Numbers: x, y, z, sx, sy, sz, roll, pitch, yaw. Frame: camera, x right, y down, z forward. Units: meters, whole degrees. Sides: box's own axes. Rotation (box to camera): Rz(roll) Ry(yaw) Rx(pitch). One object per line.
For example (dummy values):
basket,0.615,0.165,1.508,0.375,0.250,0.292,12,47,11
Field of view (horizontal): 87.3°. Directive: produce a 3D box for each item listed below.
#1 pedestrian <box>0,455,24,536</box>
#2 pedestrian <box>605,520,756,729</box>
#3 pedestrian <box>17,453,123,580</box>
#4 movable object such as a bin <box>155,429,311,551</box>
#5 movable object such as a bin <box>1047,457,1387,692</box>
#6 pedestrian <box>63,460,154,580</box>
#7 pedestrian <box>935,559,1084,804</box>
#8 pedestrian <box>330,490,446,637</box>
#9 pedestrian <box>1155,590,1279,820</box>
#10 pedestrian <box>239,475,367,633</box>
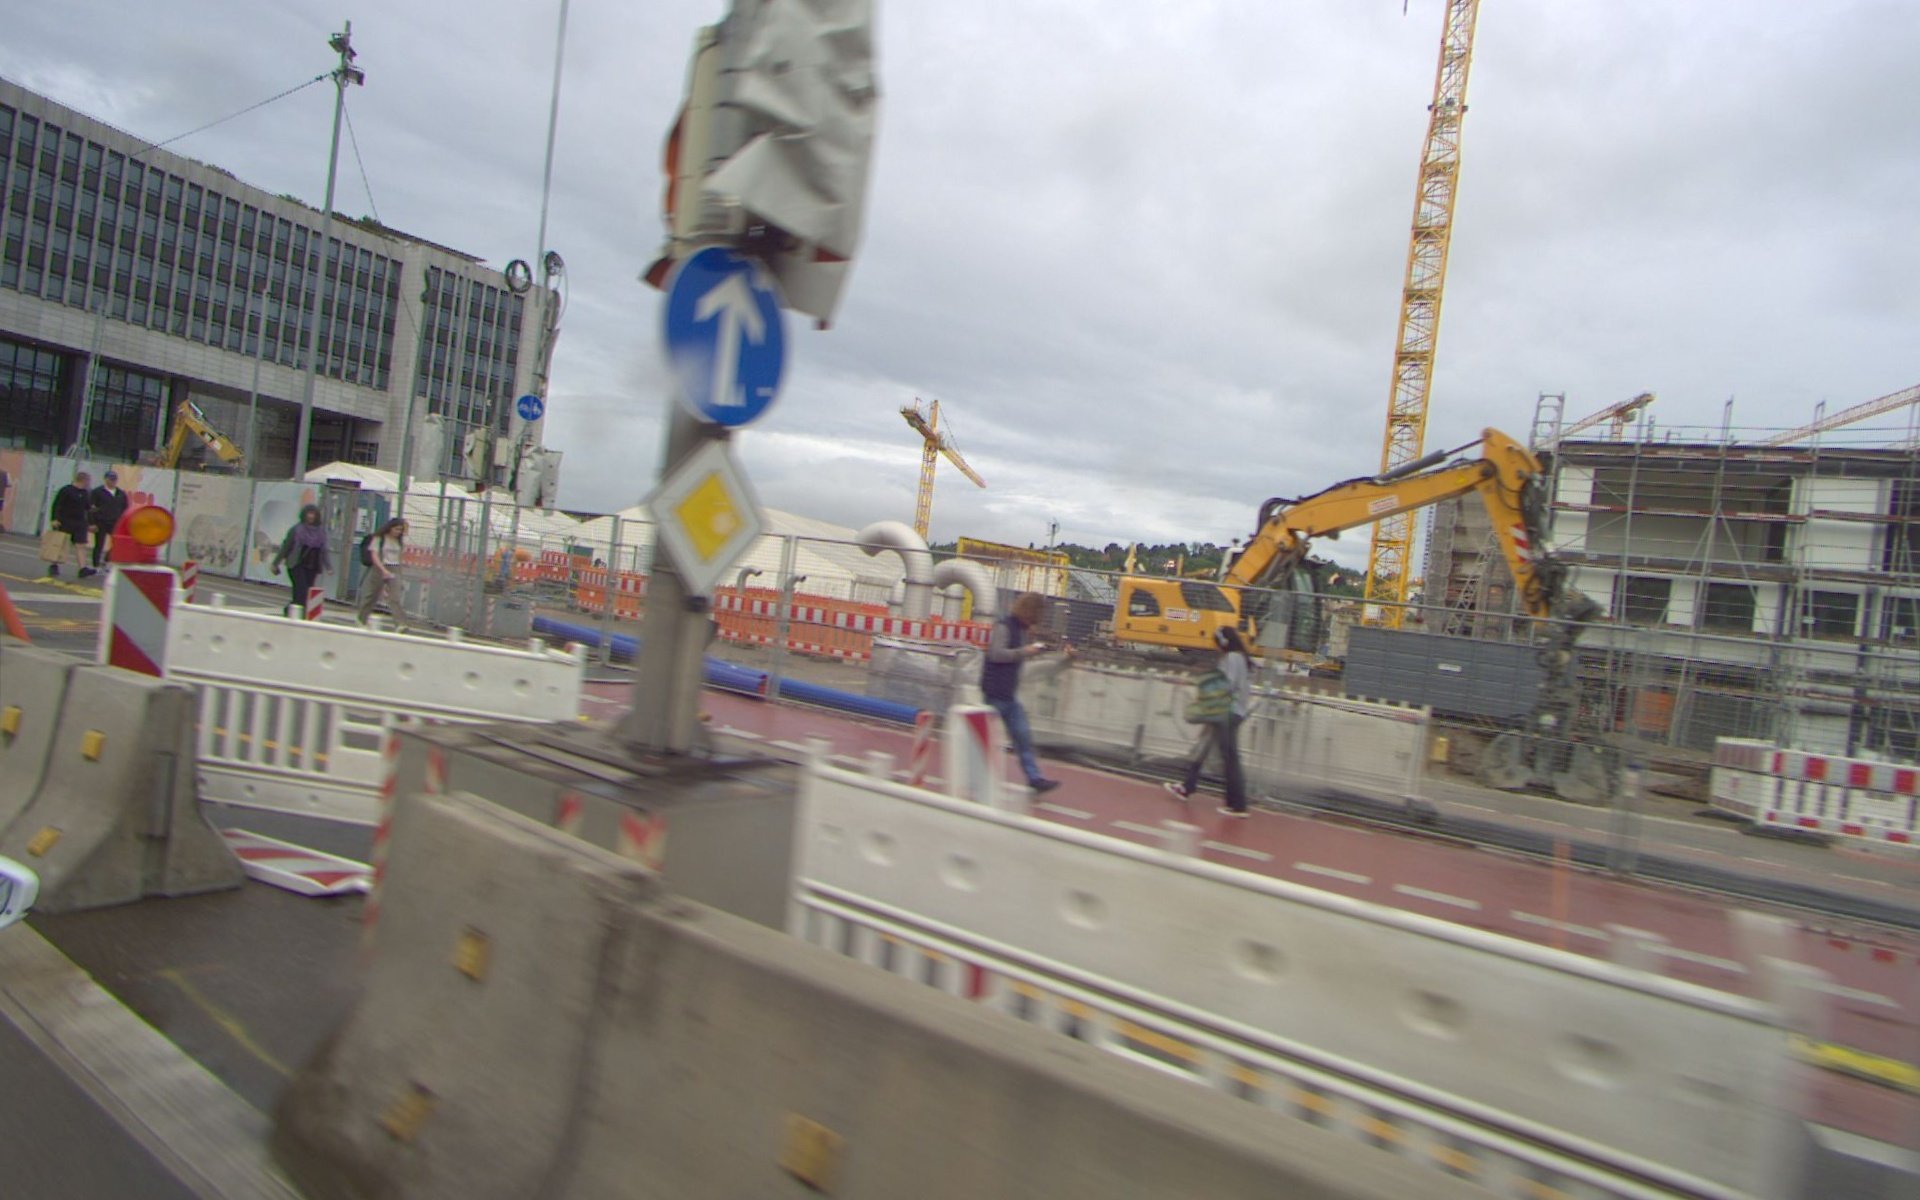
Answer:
pedestrian,-23.256,-2.558,24.158,0.797,1.886,0.780,9,2,27
pedestrian,-2.761,0.240,9.965,0.932,1.884,0.781,9,1,27
pedestrian,-14.292,-1.340,16.158,1.092,1.850,0.820,8,2,28
movable object such as a bin,-29.378,-4.385,40.786,3.627,4.079,3.098,8,0,7
movable object such as a bin,4.702,-0.471,18.498,4.297,3.536,3.919,9,2,44
pedestrian,-14.626,-1.365,17.280,0.797,1.884,0.781,9,1,27
pedestrian,0.427,0.673,8.512,0.797,1.884,0.691,9,1,27
pedestrian,-8.027,-0.500,14.128,1.039,1.884,0.781,9,1,27
pedestrian,2.317,0.919,9.020,0.671,1.884,0.788,9,1,27
pedestrian,-8.623,-0.593,13.217,0.932,1.884,0.872,9,1,27
